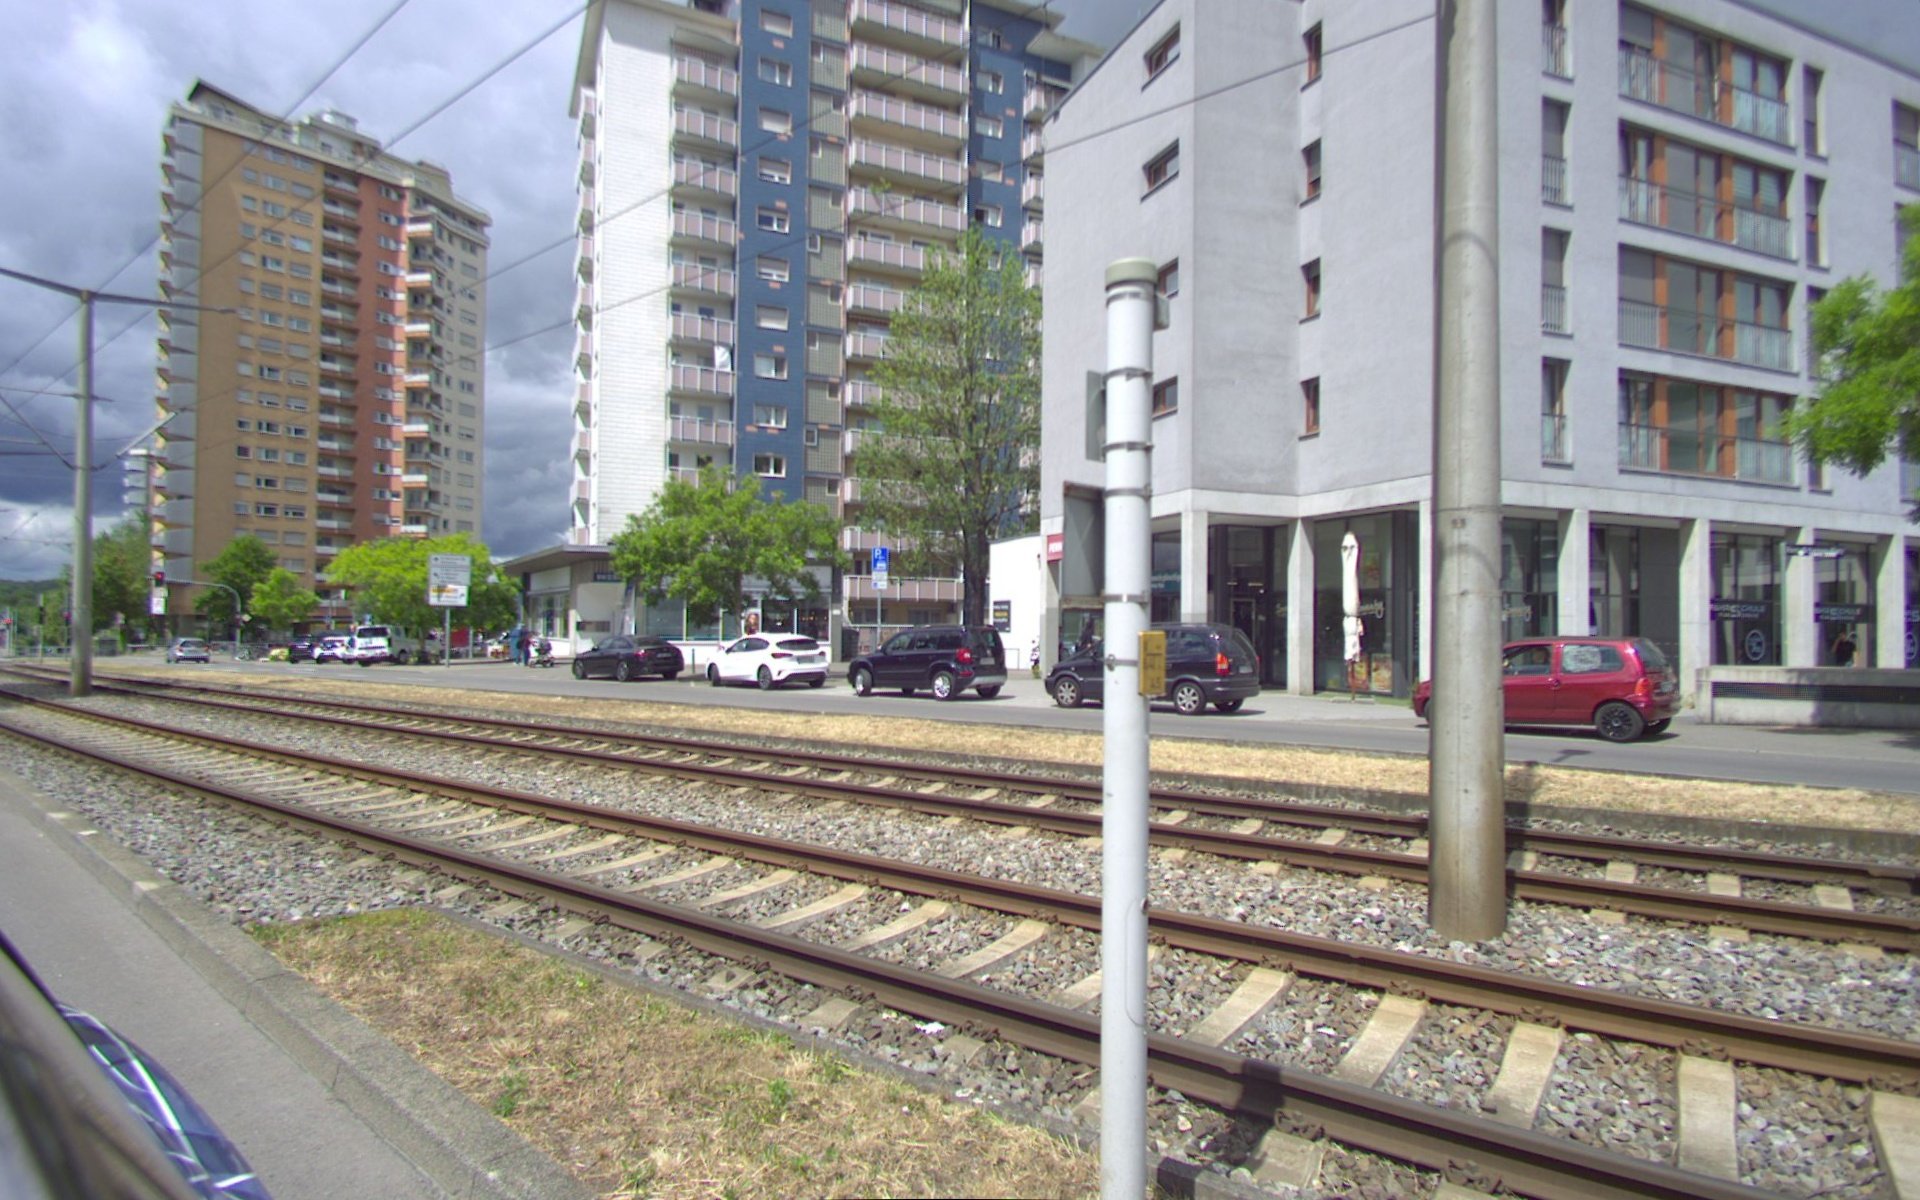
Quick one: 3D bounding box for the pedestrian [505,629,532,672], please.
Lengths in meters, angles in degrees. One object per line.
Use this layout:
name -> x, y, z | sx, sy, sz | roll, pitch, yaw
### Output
pedestrian -> -18.774, 2.145, 43.034 | 0.829, 1.806, 0.876 | 3, -4, -34

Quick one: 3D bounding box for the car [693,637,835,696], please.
car -> -5.442, 1.829, 27.761 | 1.733, 1.486, 4.403 | 3, -5, -43

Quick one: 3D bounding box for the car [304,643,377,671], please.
car -> -35.193, 3.257, 57.598 | 1.723, 1.508, 3.764 | 0, -4, 1

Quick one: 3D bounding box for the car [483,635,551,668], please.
car -> -46.753, 5.486, 106.930 | 6.205, 3.324, 2.003 | 3, -5, -40

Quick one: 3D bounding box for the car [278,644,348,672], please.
car -> -38.660, 3.504, 60.573 | 1.903, 1.604, 4.005 | 0, -4, -6

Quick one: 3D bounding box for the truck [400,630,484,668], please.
truck -> -52.214, 4.993, 102.148 | 6.991, 3.703, 2.550 | 3, -5, -42

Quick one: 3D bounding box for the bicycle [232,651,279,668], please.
bicycle -> -45.970, 3.908, 66.046 | 0.704, 1.074, 2.401 | -3, -5, 42

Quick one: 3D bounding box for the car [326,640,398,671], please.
car -> -33.098, 3.082, 56.152 | 1.877, 1.644, 4.004 | 0, -4, -5

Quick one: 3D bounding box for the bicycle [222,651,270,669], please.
bicycle -> -45.031, 3.792, 63.848 | 0.717, 1.042, 2.401 | -3, -3, 42

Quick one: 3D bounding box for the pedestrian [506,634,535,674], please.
pedestrian -> -17.789, 2.171, 40.978 | 0.976, 1.583, 0.513 | -1, -1, 13

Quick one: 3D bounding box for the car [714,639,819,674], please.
car -> -8.293, 2.424, 43.296 | 4.283, 1.454, 2.005 | 1, -4, -13

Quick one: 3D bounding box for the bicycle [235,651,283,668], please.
bicycle -> -45.388, 3.876, 65.542 | 0.704, 1.074, 2.401 | -3, -5, 42

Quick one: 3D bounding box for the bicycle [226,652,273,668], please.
bicycle -> -47.132, 3.976, 67.133 | 0.704, 1.074, 2.401 | -3, -5, 42

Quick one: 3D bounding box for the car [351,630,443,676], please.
car -> -27.530, 2.618, 49.679 | 1.879, 2.173, 4.761 | 0, -4, -1

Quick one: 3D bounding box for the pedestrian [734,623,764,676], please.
pedestrian -> -7.385, 1.738, 35.387 | 0.843, 1.806, 0.605 | -3, -5, 40

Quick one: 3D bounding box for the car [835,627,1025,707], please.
car -> -0.739, 1.526, 23.455 | 4.095, 1.675, 1.974 | -3, -3, 39

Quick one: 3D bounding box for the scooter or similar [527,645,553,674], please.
scooter or similar -> -16.928, 2.395, 40.784 | 0.761, 1.133, 0.578 | -2, -1, 13

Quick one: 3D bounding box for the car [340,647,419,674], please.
car -> -30.635, 3.213, 53.523 | 1.879, 1.394, 4.000 | 0, -4, -1

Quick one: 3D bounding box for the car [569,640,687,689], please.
car -> -10.688, 2.032, 32.436 | 4.381, 1.439, 1.715 | -3, -2, 44

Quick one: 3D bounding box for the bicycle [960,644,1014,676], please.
bicycle -> 1.045, 2.288, 38.647 | 1.939, 1.221, 0.671 | 1, -4, -18

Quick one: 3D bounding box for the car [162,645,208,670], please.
car -> -49.029, 3.647, 64.022 | 1.797, 1.544, 3.756 | 4, -5, -45

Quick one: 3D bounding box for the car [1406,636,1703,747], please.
car -> 8.654, 1.294, 14.914 | 1.594, 1.437, 3.426 | 3, -5, -42

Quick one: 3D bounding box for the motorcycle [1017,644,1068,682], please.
motorcycle -> 2.664, 2.031, 32.657 | 0.740, 1.187, 1.873 | -3, -5, 38

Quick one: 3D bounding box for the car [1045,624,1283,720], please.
car -> 3.843, 1.369, 19.518 | 4.100, 1.660, 1.971 | -3, -5, 44

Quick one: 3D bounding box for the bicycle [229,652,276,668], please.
bicycle -> -46.515, 3.939, 66.538 | 0.704, 1.074, 2.401 | -3, -5, 42

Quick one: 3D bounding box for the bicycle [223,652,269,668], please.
bicycle -> -47.736, 4.009, 67.655 | 0.704, 1.074, 2.401 | -3, -5, 42
